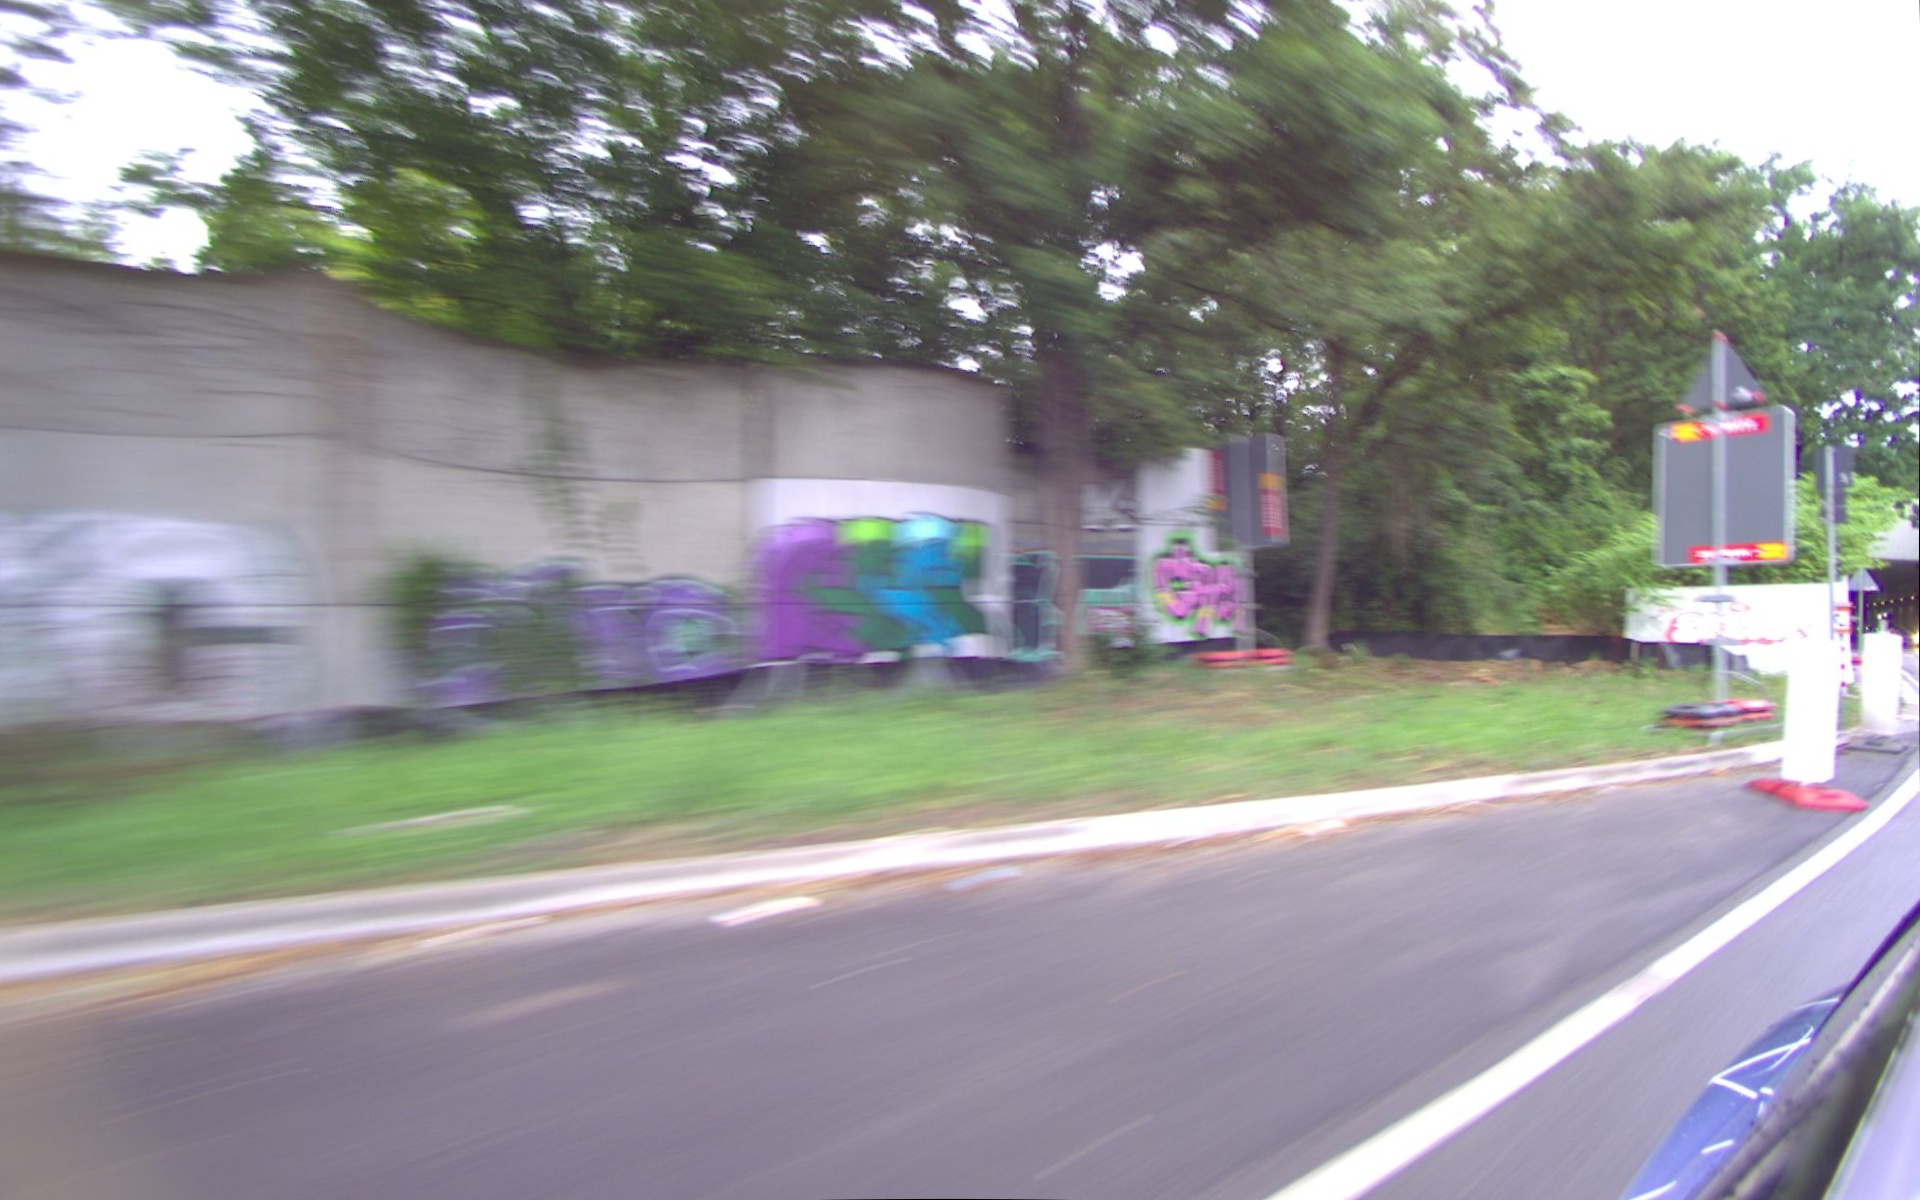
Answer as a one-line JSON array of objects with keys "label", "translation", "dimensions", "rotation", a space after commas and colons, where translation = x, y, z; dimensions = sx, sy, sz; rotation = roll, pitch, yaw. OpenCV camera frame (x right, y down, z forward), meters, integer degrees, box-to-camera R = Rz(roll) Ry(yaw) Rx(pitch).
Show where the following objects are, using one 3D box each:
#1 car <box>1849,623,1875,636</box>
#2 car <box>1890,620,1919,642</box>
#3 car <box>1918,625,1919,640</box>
[{"label": "car", "translation": [100.418, 3.280, 112.666], "dimensions": [1.951, 1.324, 3.771], "rotation": [1, 1, 39]}, {"label": "car", "translation": [69.319, 2.237, 73.970], "dimensions": [1.690, 1.418, 3.772], "rotation": [0, 1, 38]}, {"label": "car", "translation": [83.304, 2.844, 86.524], "dimensions": [1.690, 1.324, 3.772], "rotation": [1, 1, 38]}]
